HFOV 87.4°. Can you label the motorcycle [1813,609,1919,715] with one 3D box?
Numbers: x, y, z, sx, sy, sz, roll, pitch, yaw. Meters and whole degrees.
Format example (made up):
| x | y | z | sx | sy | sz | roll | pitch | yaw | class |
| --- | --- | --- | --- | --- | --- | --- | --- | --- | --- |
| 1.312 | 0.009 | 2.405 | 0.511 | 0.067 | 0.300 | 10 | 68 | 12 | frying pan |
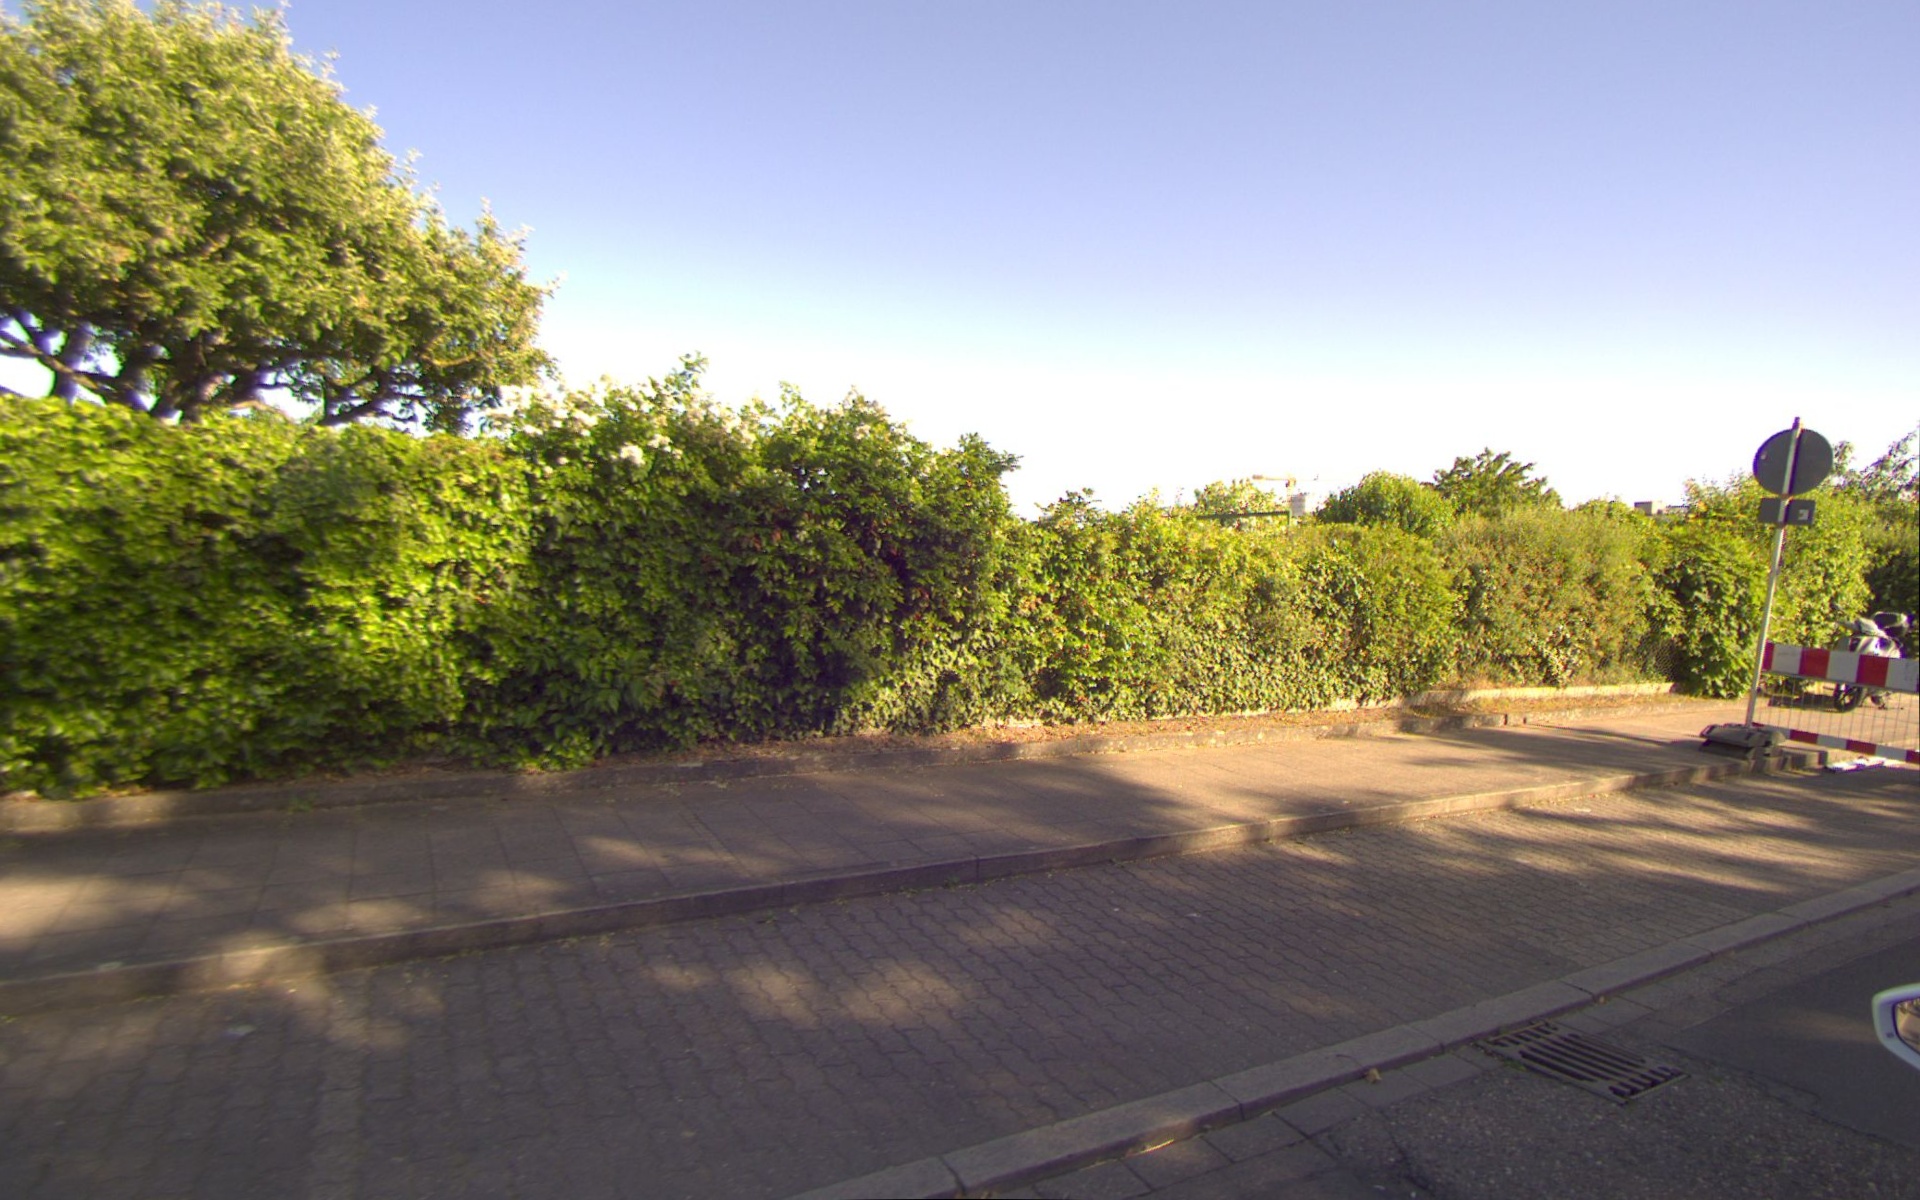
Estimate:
| x | y | z | sx | sy | sz | roll | pitch | yaw | class |
| --- | --- | --- | --- | --- | --- | --- | --- | --- | --- |
| 12.012 | 0.795 | 13.243 | 2.069 | 1.285 | 0.563 | 2 | 2 | -34 | motorcycle |
